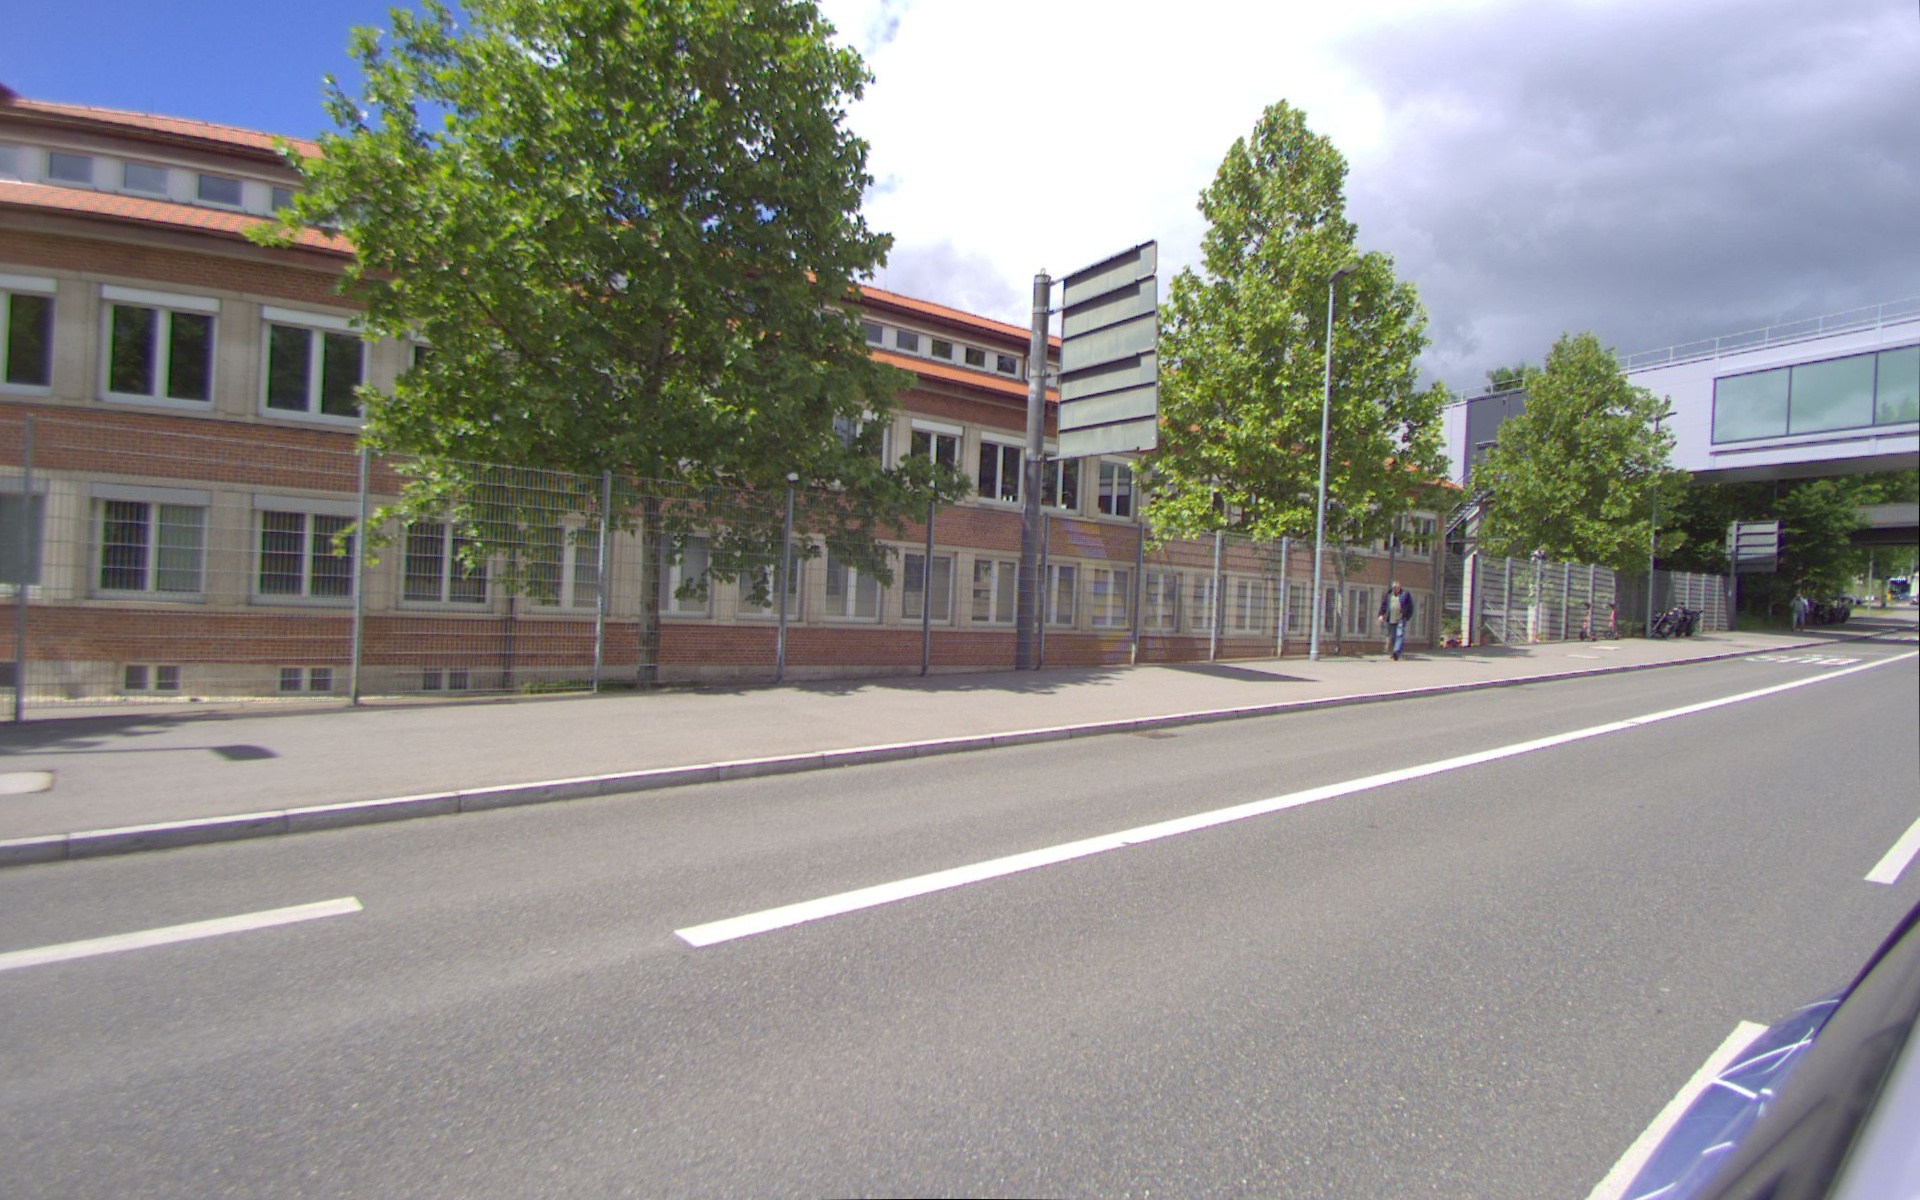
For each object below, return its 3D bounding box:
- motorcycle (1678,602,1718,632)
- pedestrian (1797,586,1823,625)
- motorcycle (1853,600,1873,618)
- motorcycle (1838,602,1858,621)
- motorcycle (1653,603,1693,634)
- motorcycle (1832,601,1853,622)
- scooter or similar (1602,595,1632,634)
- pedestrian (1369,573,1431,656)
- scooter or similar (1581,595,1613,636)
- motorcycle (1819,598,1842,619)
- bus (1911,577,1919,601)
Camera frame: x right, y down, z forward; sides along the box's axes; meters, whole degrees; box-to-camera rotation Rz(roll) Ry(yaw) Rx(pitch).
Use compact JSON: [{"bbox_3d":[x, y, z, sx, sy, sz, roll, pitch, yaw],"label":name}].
[{"bbox_3d":[29.060,0.665,39.843,2.466,1.077,0.709,0,4,-41],"label":"motorcycle"},{"bbox_3d":[42.513,0.277,50.630,1.078,1.911,0.791,0,2,-41],"label":"pedestrian"},{"bbox_3d":[56.744,0.561,63.569,2.143,1.096,0.679,0,2,-42],"label":"motorcycle"},{"bbox_3d":[54.714,0.687,62.377,2.003,1.096,0.679,0,2,-42],"label":"motorcycle"},{"bbox_3d":[26.708,0.686,37.897,2.208,1.077,0.670,0,4,-41],"label":"motorcycle"},{"bbox_3d":[52.947,0.683,60.715,2.123,1.157,0.679,0,2,-42],"label":"motorcycle"},{"bbox_3d":[22.666,0.498,34.924,1.313,1.310,0.492,0,2,-41],"label":"scooter or similar"},{"bbox_3d":[9.813,0.308,22.595,0.924,1.764,0.879,0,3,-41],"label":"pedestrian"},{"bbox_3d":[21.120,0.507,33.564,1.313,1.310,0.492,0,2,-41],"label":"scooter or similar"},{"bbox_3d":[51.053,0.506,59.334,2.075,1.169,0.679,0,2,-40],"label":"motorcycle"},{"bbox_3d":[121.007,-1.380,121.341,2.602,2.972,9.785,-1,1,-36],"label":"bus"}]
